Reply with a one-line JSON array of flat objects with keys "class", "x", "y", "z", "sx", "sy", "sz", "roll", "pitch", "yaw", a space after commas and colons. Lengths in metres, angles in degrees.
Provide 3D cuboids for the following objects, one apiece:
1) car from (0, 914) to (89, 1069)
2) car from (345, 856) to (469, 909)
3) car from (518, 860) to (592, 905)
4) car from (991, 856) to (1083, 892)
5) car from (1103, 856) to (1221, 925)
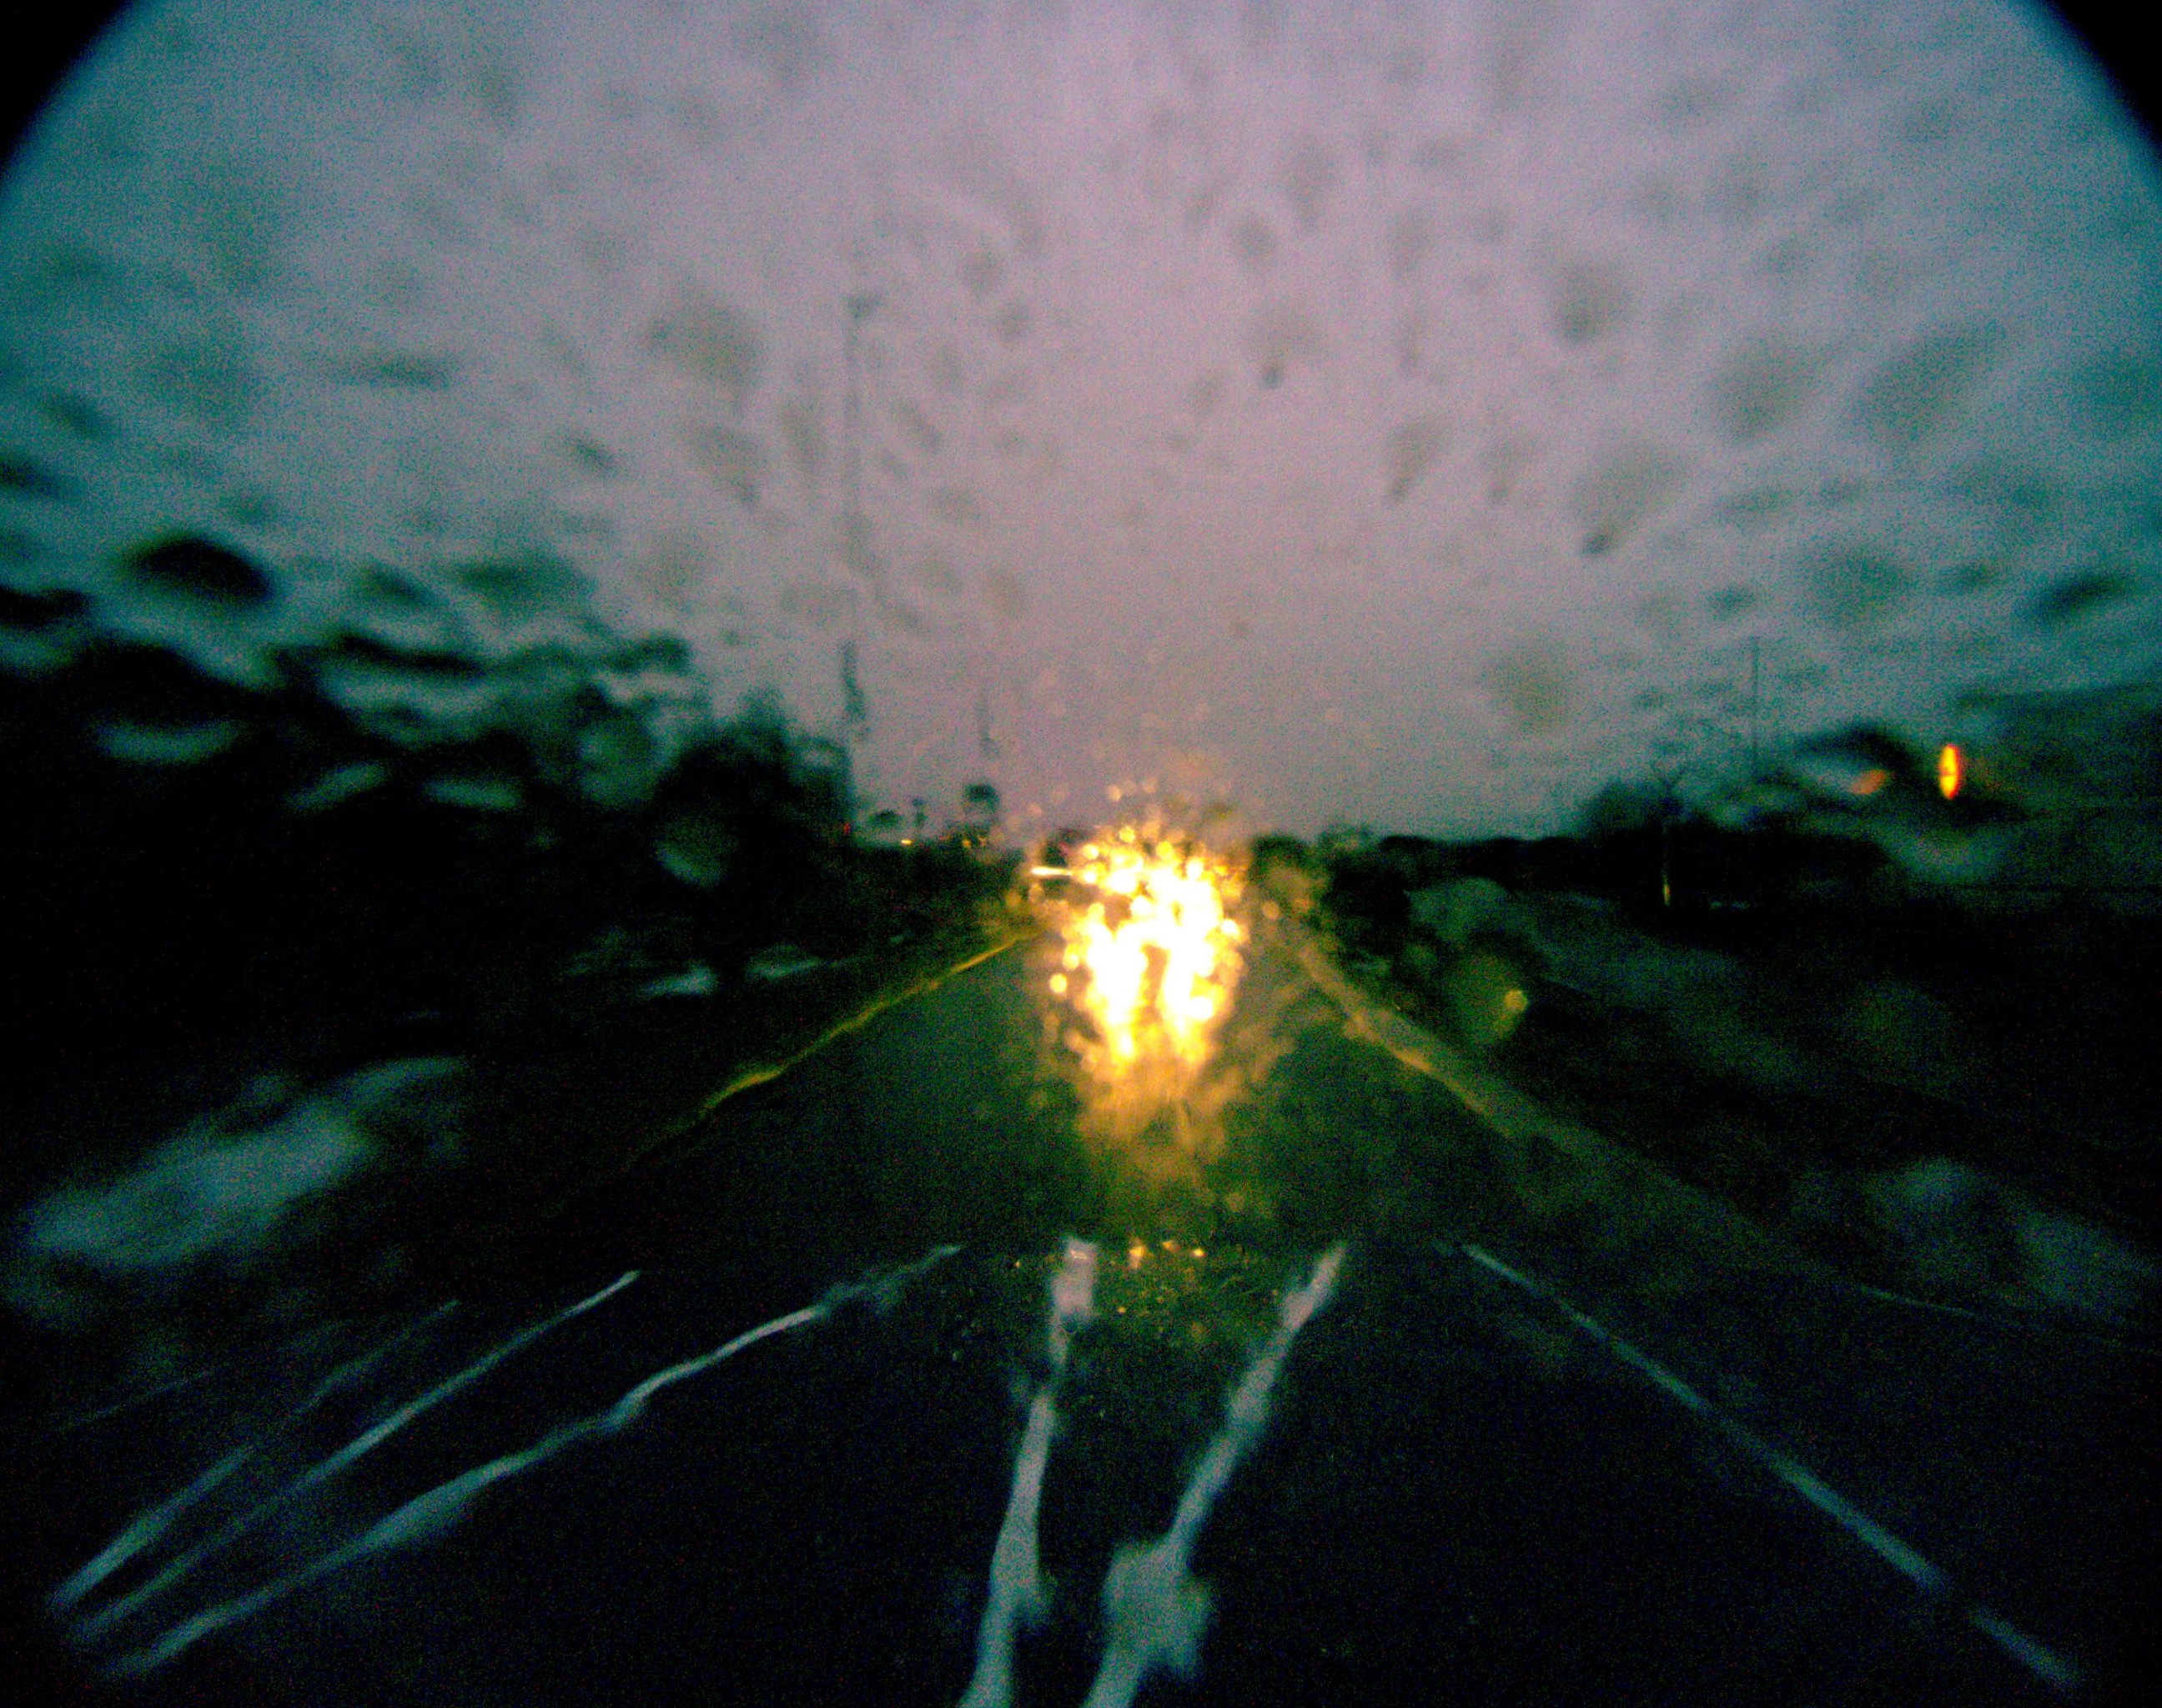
[{"class": "car", "x": -10.343, "y": 1.308, "z": 6.198, "sx": 1.288, "sy": 1.375, "sz": 3.572, "roll": -1, "pitch": 0, "yaw": -27}, {"class": "car", "x": -26.960, "y": 1.056, "z": 30.655, "sx": 2.371, "sy": 1.854, "sz": 5.319, "roll": 1, "pitch": 0, "yaw": -26}, {"class": "car", "x": -24.868, "y": 1.300, "z": 36.117, "sx": 1.941, "sy": 1.907, "sz": 5.237, "roll": -2, "pitch": 0, "yaw": -25}, {"class": "car", "x": -1.965, "y": 0.886, "z": 33.626, "sx": 3.701, "sy": 1.483, "sz": 1.666, "roll": -2, "pitch": 0, "yaw": 31}, {"class": "car", "x": 1.917, "y": 0.827, "z": 19.281, "sx": 1.811, "sy": 1.452, "sz": 4.241, "roll": -1, "pitch": 1, "yaw": -11}]
